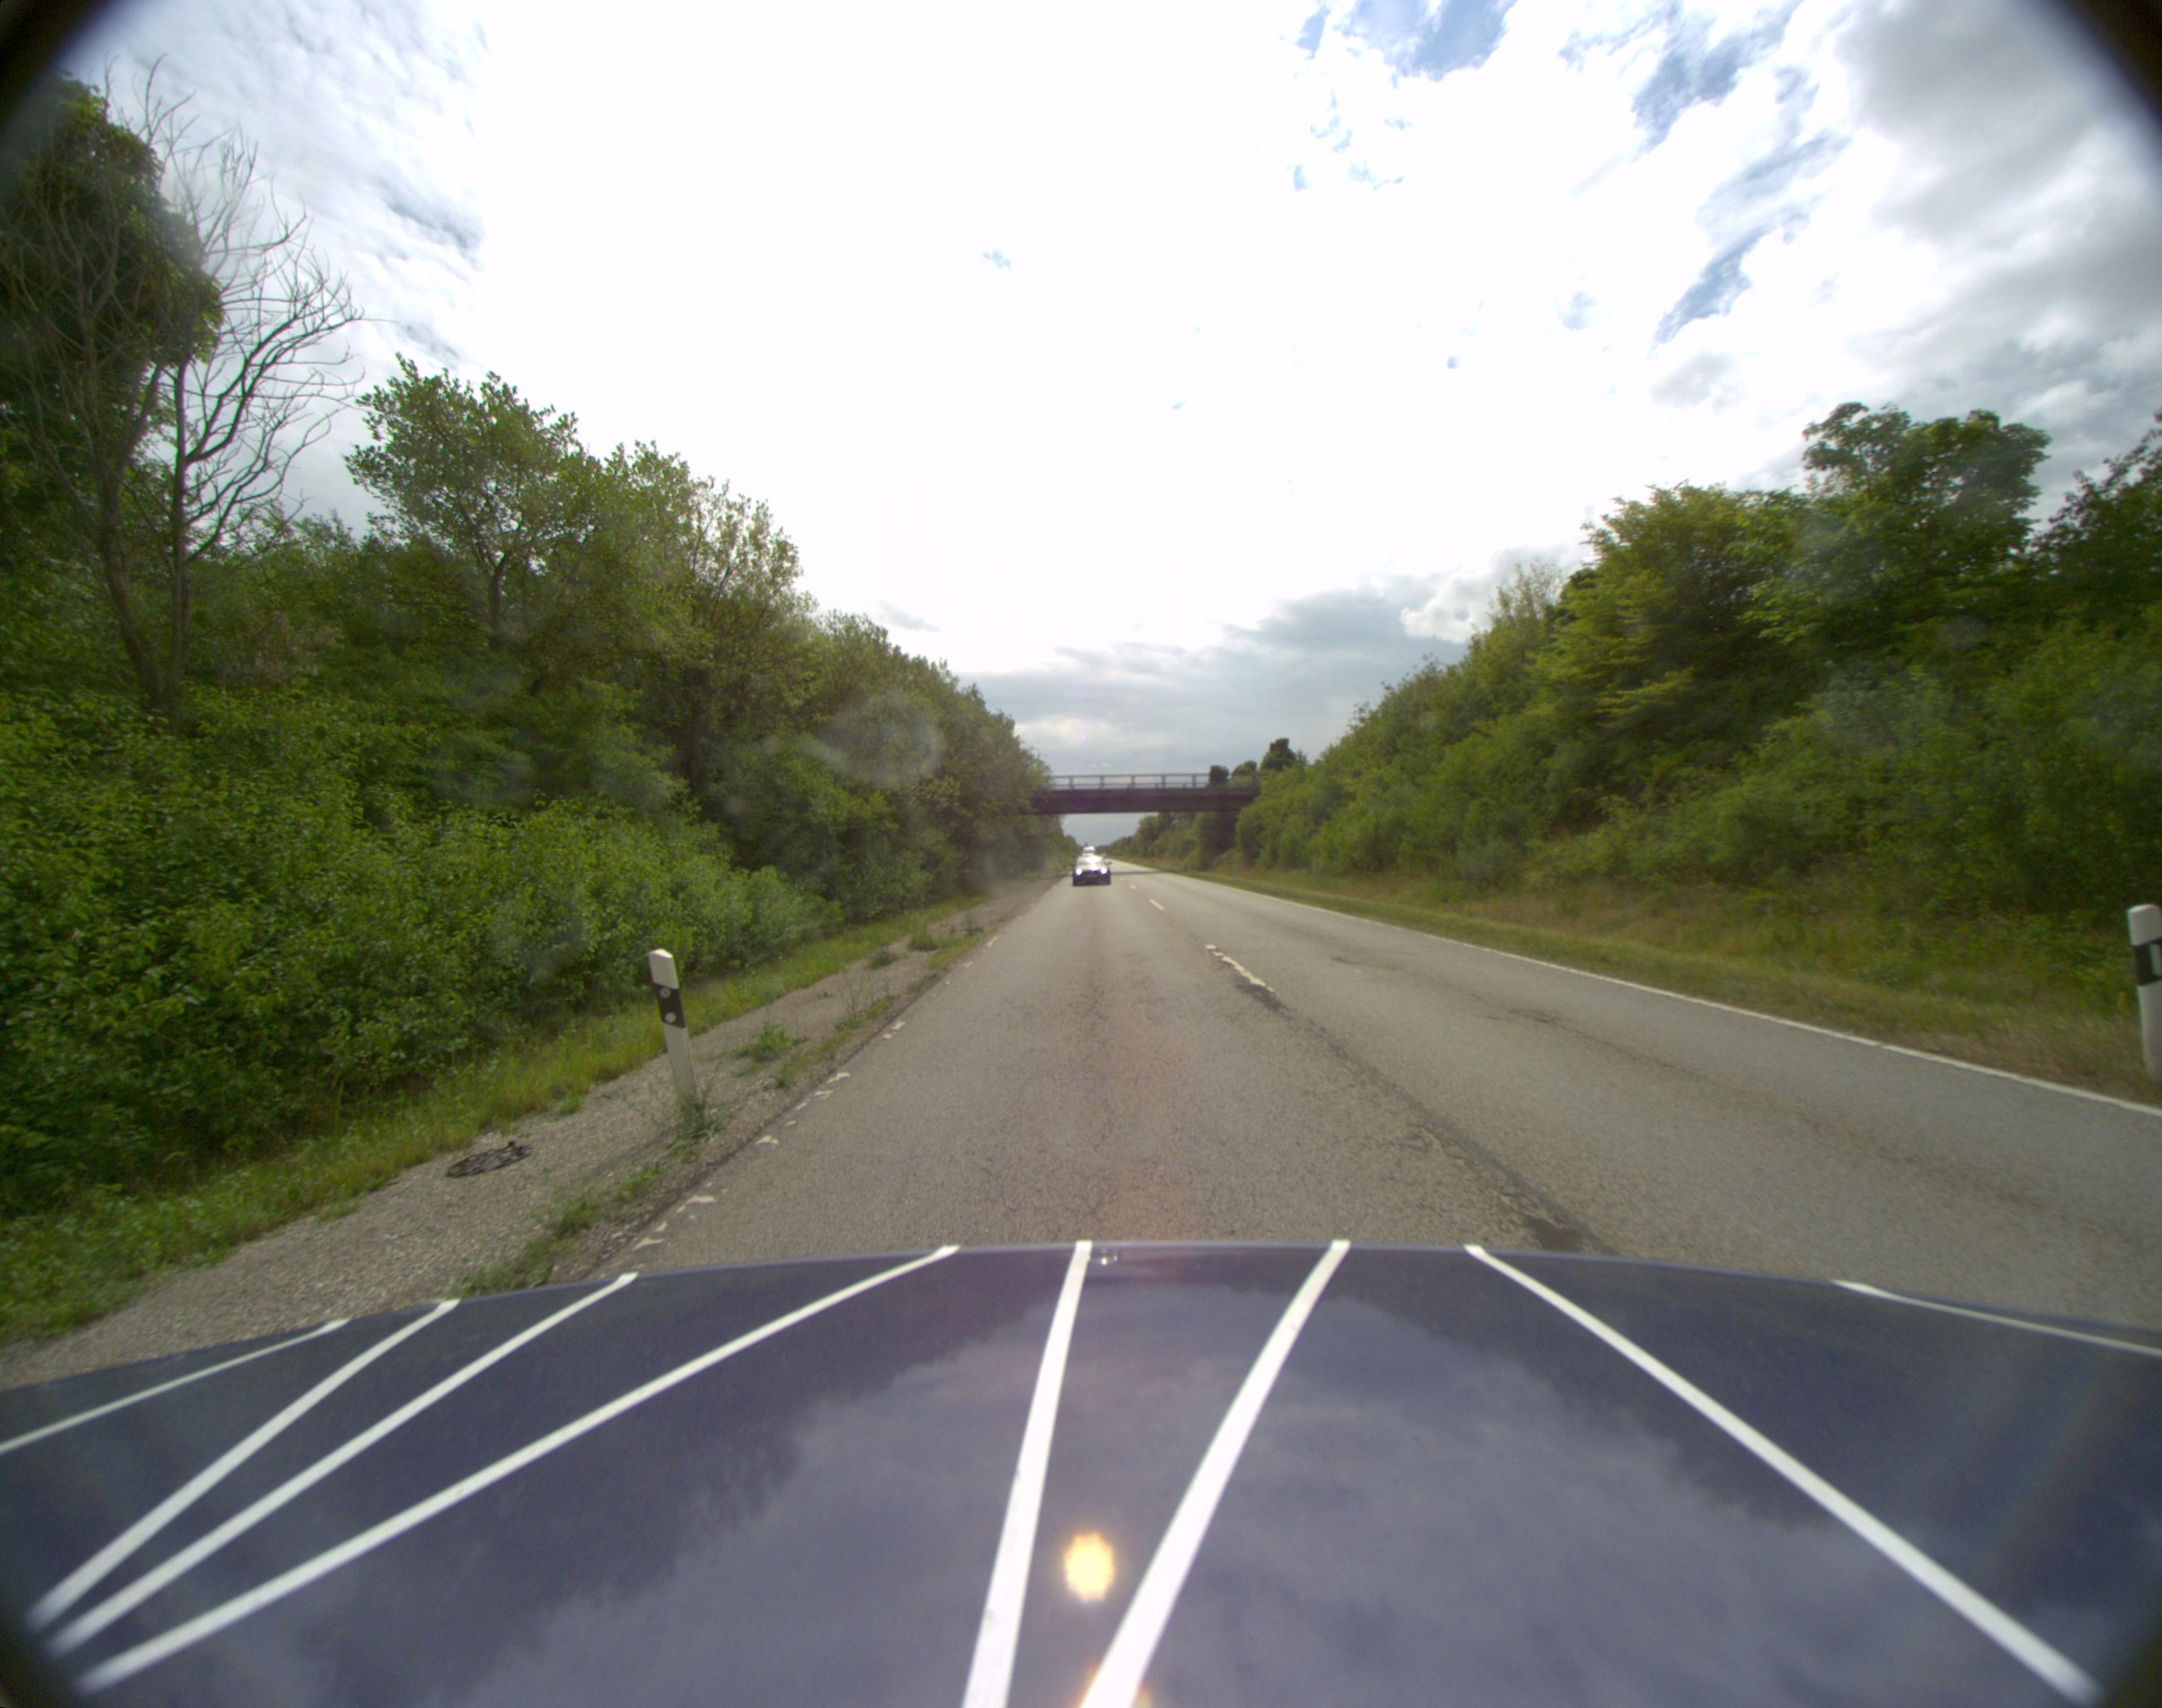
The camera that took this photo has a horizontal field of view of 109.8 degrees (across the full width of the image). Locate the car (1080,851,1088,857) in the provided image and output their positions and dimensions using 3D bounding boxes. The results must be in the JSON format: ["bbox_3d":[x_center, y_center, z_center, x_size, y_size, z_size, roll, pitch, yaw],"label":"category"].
[{"bbox_3d":[0.793,-0.010,206.013,1.893,1.637,3.999,-2,0,-1],"label":"car"}]

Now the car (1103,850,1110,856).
[{"bbox_3d":[7.253,-0.179,219.331,1.892,1.637,4.000,-2,0,0],"label":"car"}]

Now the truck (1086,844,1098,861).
[{"bbox_3d":[1.732,-0.283,121.049,1.802,2.518,6.685,-2,1,1],"label":"truck"}]

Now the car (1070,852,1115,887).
[{"bbox_3d":[0.546,0.706,36.680,1.998,1.436,4.640,-2,1,1],"label":"car"}]
